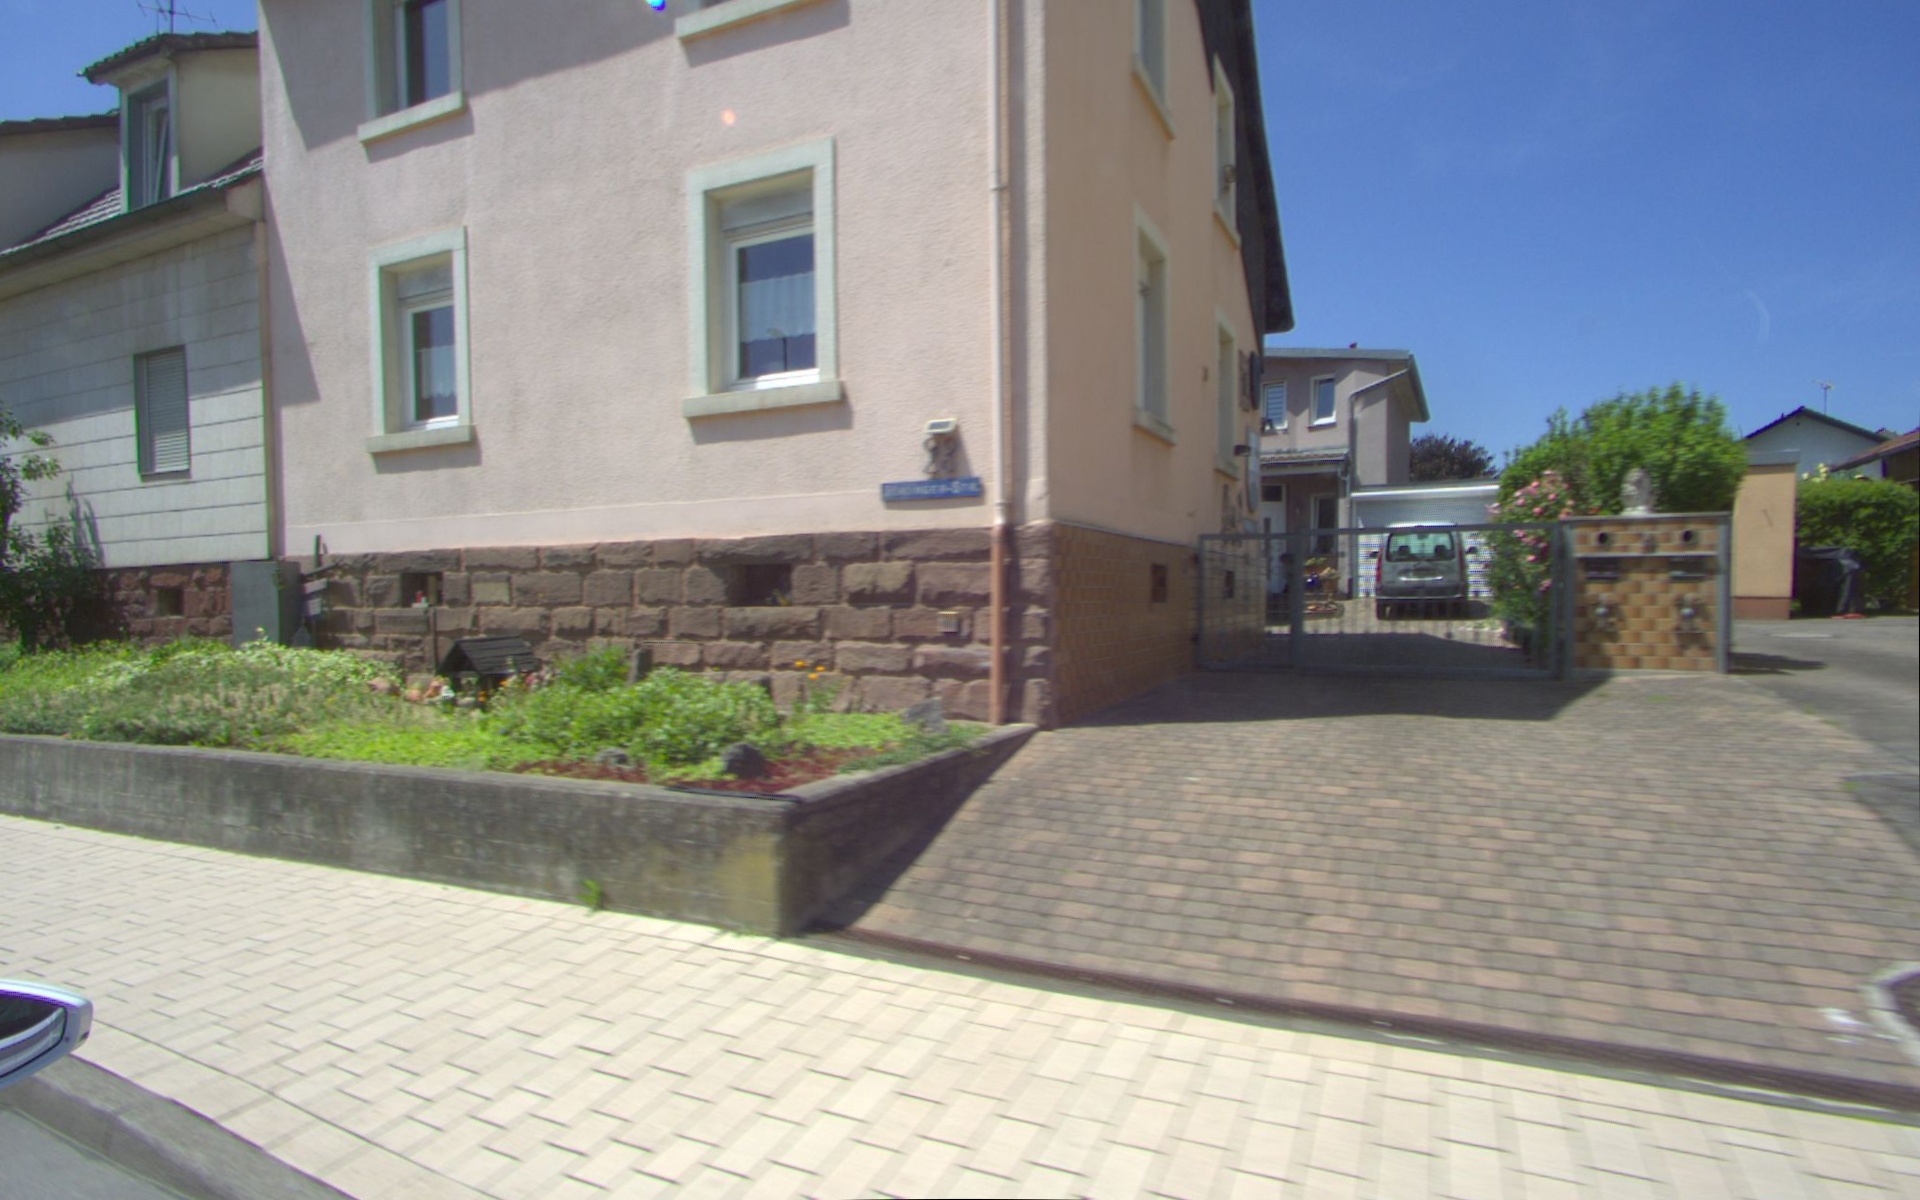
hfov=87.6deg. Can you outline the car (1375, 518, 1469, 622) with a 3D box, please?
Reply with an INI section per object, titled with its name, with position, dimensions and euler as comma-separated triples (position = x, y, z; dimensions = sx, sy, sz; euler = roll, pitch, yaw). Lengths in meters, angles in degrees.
[car]
position = 9.105, -0.662, 19.705
dimensions = 1.522, 1.810, 3.884
euler = 0, 4, 26
